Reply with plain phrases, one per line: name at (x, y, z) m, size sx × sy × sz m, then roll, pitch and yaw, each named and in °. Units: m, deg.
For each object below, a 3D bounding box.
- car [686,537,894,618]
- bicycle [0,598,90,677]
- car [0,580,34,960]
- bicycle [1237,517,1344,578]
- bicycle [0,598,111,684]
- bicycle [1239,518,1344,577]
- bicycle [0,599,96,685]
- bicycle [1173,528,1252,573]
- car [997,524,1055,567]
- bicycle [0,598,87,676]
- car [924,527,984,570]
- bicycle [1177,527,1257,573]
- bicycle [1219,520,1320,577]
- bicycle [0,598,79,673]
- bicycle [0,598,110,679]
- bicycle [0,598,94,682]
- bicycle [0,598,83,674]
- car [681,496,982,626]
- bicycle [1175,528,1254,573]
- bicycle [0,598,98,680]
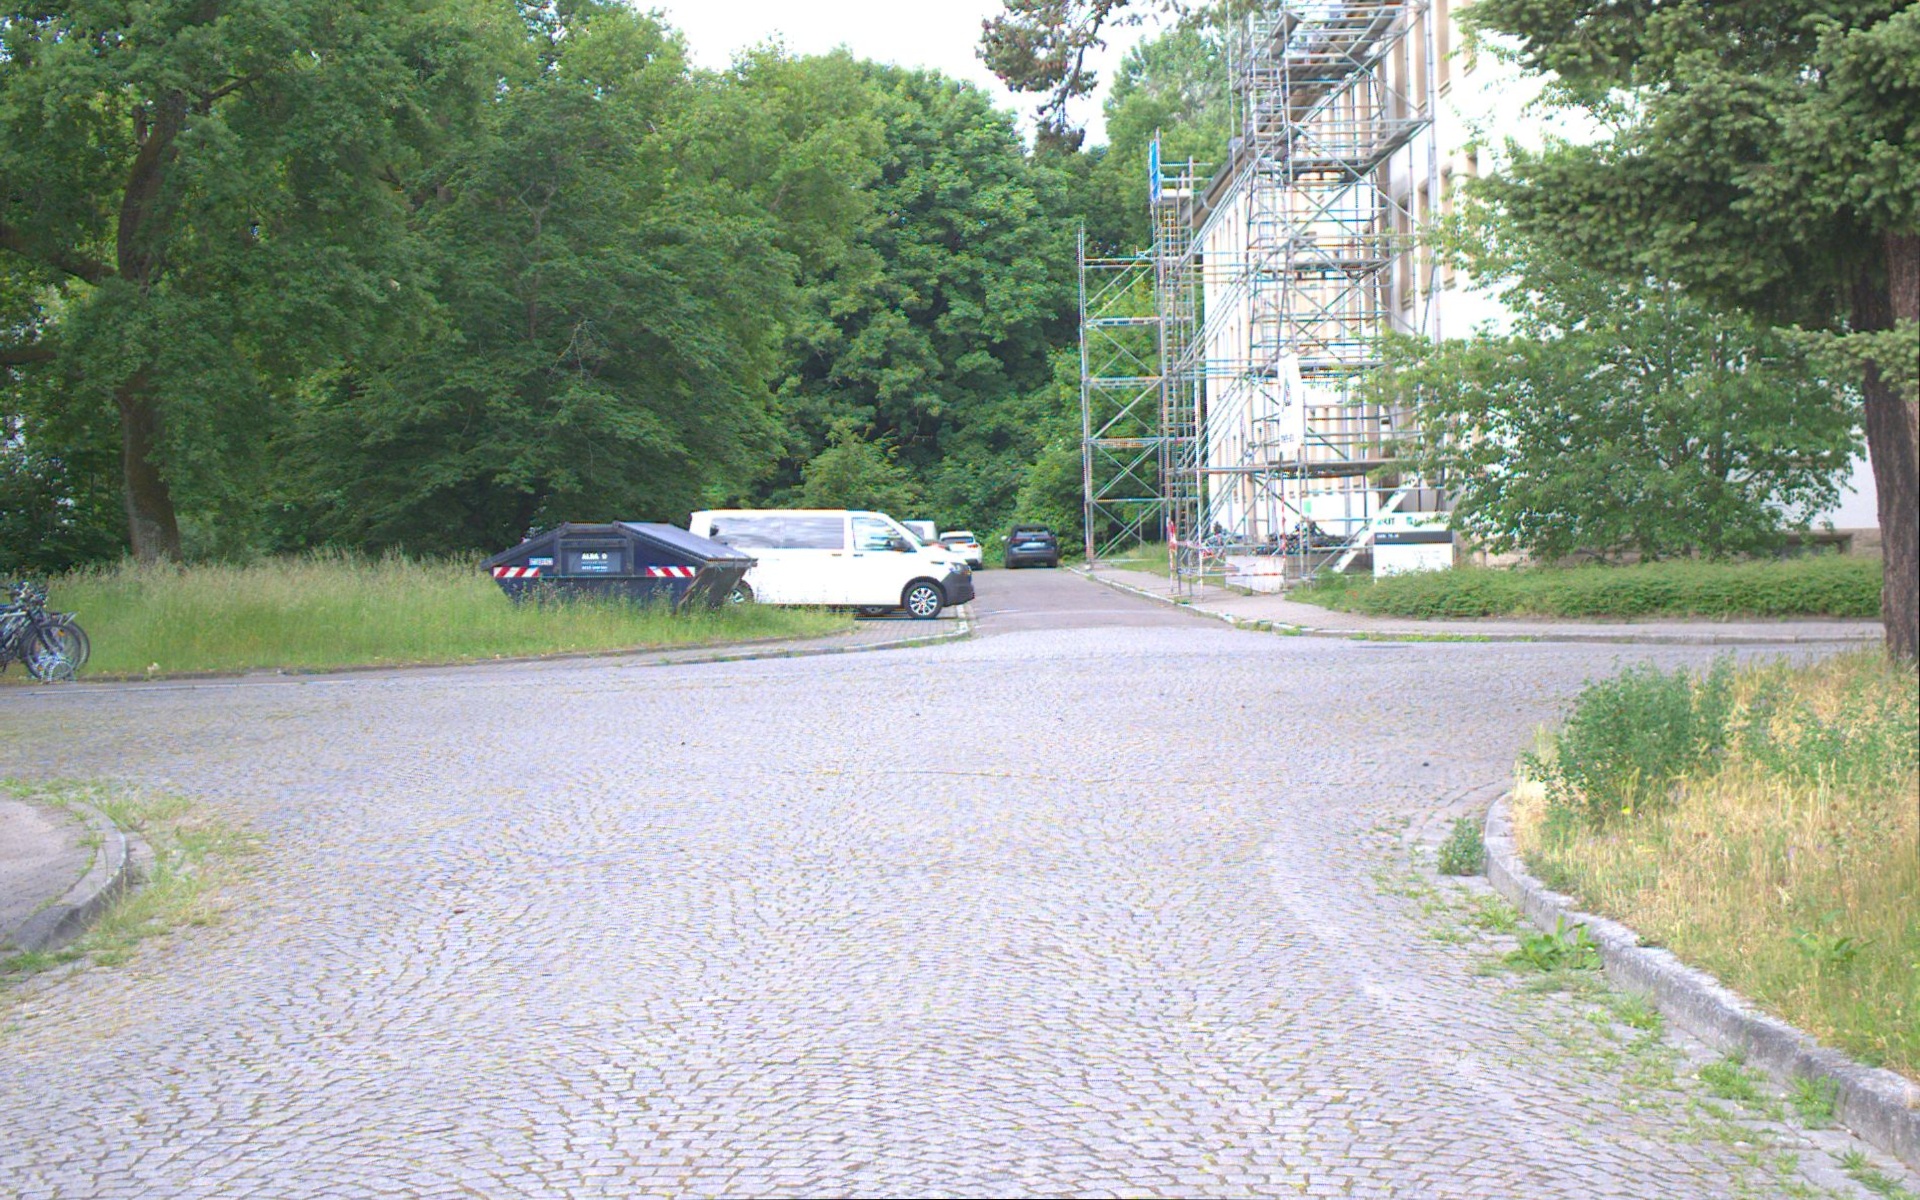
car at (-3.162, -0.425, 64.141) m, size 3.788 × 1.390 × 2.000 m, roll -2°, pitch 1°, yaw -3°
bicycle at (-12.464, 0.502, 45.053) m, size 1.957 × 0.986 × 0.627 m, roll -2°, pitch 1°, yaw -23°
car at (-5.867, 0.688, 12.743) m, size 4.303 × 1.456 × 1.975 m, roll 0°, pitch 1°, yaw 1°
bicycle at (7.157, -1.133, 74.464) m, size 2.240 × 1.250 × 0.777 m, roll -1°, pitch 1°, yaw 2°
bicycle at (-11.393, 0.505, 41.849) m, size 1.957 × 0.986 × 0.627 m, roll -2°, pitch 1°, yaw -23°
bicycle at (7.360, -1.163, 76.375) m, size 2.240 × 1.250 × 0.777 m, roll -1°, pitch 1°, yaw 2°
bicycle at (-11.416, 0.514, 41.224) m, size 1.957 × 0.986 × 0.627 m, roll -2°, pitch 1°, yaw -20°
bicycle at (7.352, -1.448, 100.275) m, size 2.240 × 1.250 × 0.634 m, roll -1°, pitch 1°, yaw 2°
car at (2.435, -2.014, 127.810) m, size 1.951 × 1.516 × 4.000 m, roll -1°, pitch 1°, yaw -2°
bicycle at (-12.645, 0.501, 45.636) m, size 1.957 × 0.986 × 0.627 m, roll -2°, pitch 1°, yaw -23°
car at (-0.241, -1.922, 127.524) m, size 2.118 × 1.516 × 4.000 m, roll -1°, pitch 1°, yaw -1°
bicycle at (7.337, -1.421, 98.122) m, size 2.240 × 1.250 × 0.627 m, roll -1°, pitch 1°, yaw 2°
bicycle at (7.084, -1.182, 78.721) m, size 2.240 × 1.250 × 0.777 m, roll -1°, pitch 1°, yaw 2°
bicycle at (-13.192, 0.498, 47.334) m, size 1.957 × 0.986 × 0.627 m, roll -2°, pitch 1°, yaw -23°
bicycle at (-12.013, 0.496, 44.325) m, size 1.957 × 0.986 × 0.627 m, roll -2°, pitch 1°, yaw -23°
bicycle at (-11.854, 0.509, 42.822) m, size 1.957 × 0.986 × 0.627 m, roll -2°, pitch 1°, yaw -23°
bicycle at (-12.990, 0.499, 46.763) m, size 1.957 × 0.986 × 0.627 m, roll -2°, pitch 1°, yaw -23°
car at (-2.297, -0.706, 61.540) m, size 5.234 × 2.160 × 2.000 m, roll -2°, pitch 1°, yaw -2°
bicycle at (7.350, -1.438, 99.430) m, size 2.240 × 1.250 × 0.698 m, roll -1°, pitch 1°, yaw 2°
bicycle at (-11.955, 0.505, 43.448) m, size 1.957 × 0.986 × 0.627 m, roll -2°, pitch 1°, yaw -23°
